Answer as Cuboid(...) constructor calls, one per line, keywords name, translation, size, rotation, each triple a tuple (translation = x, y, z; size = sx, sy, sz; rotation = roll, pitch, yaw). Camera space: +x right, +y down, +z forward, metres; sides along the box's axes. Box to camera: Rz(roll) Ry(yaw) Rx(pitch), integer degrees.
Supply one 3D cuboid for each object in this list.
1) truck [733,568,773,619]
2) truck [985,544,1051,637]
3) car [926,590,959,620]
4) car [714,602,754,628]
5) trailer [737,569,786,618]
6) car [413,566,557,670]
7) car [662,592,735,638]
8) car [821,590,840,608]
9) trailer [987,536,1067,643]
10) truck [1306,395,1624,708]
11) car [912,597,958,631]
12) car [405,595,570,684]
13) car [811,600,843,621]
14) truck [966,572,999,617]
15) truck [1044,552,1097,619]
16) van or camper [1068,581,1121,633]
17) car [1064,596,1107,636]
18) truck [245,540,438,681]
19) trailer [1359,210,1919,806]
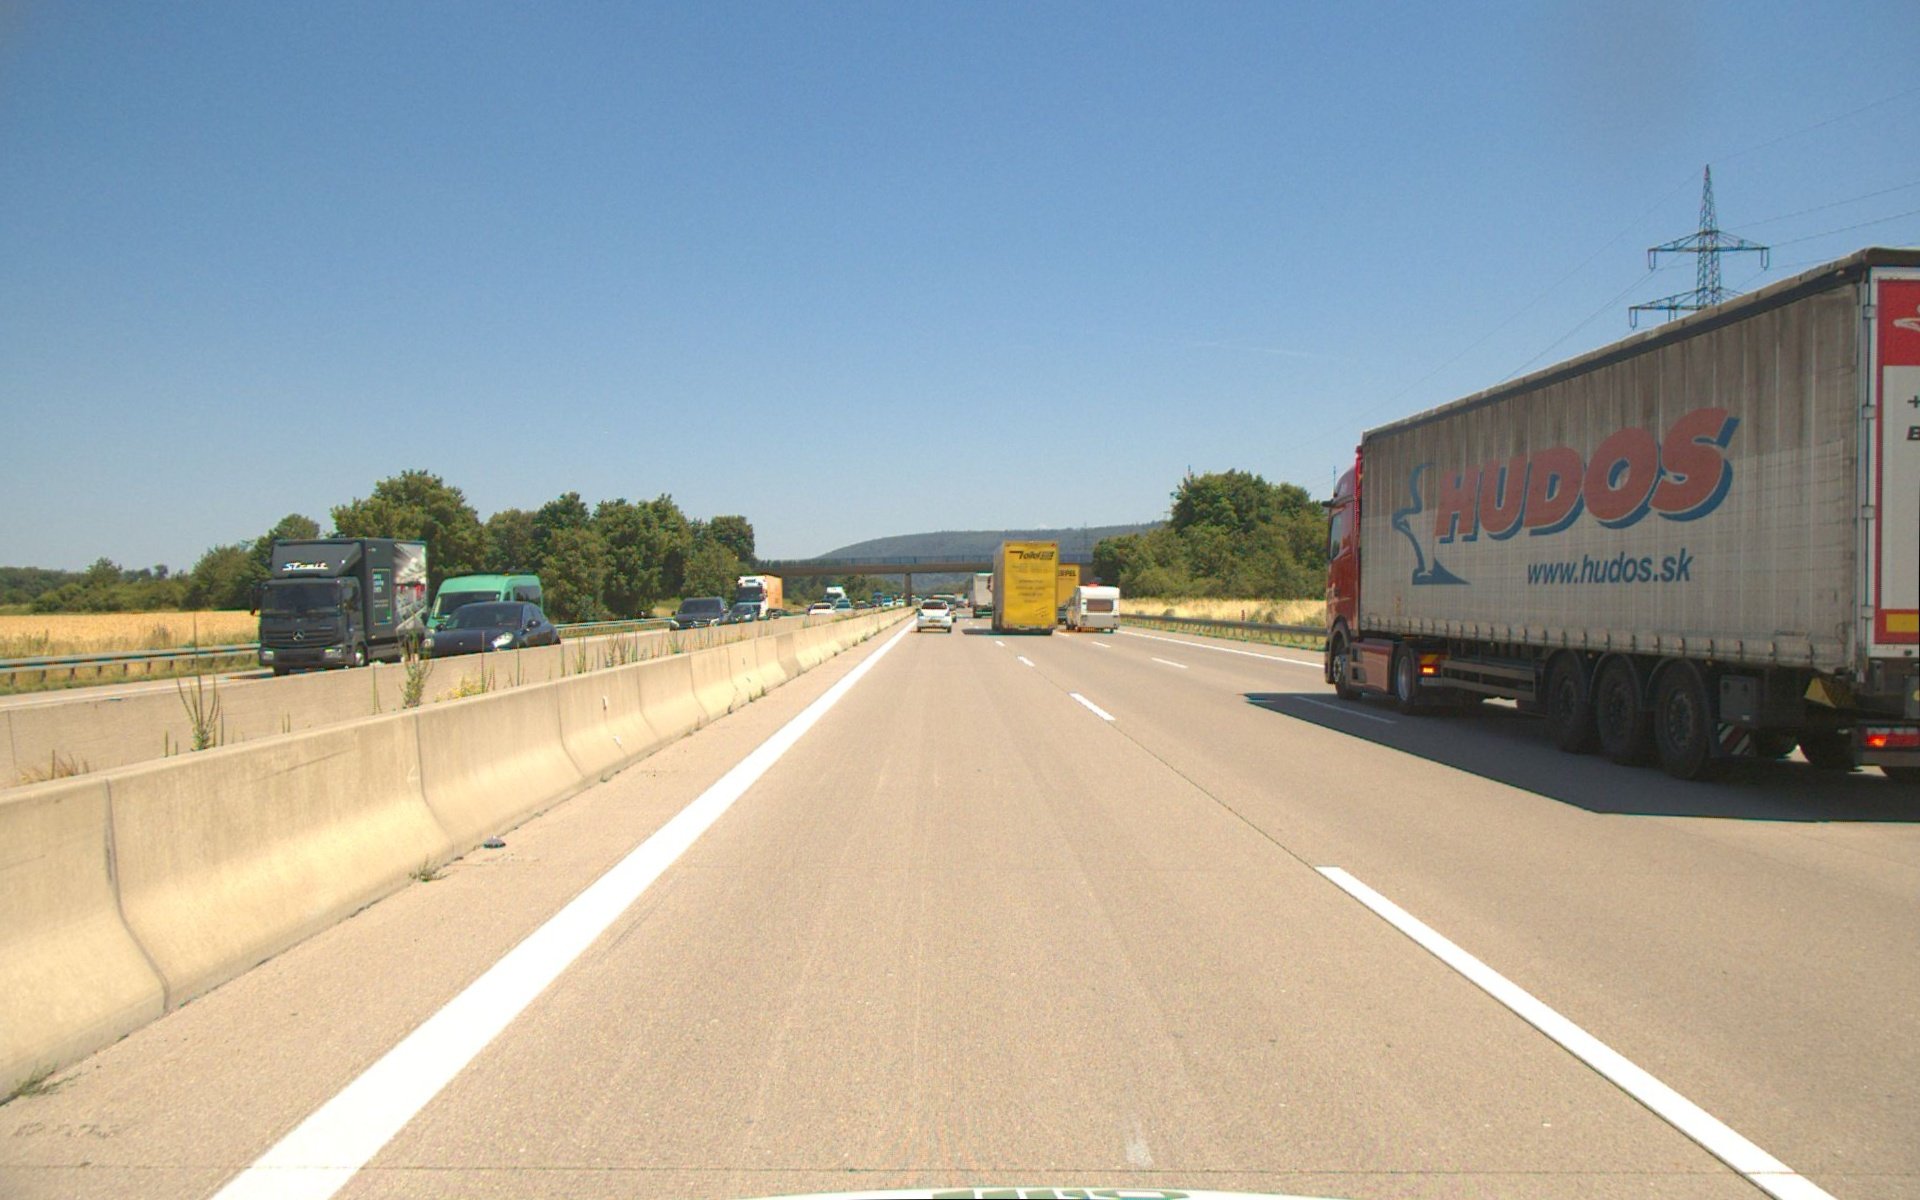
Cuboid(name="truck", translation=(-18.041, -0.554, 144.258), size=(2.810, 4.269, 5.229), rotation=(-2, 0, -1))
Cuboid(name="truck", translation=(2.998, -0.505, 86.713), size=(3.150, 4.643, 5.835), rotation=(1, 0, 0))
Cuboid(name="car", translation=(-1.232, 0.346, 118.399), size=(2.208, 2.049, 4.297), rotation=(1, 0, 0))
Cuboid(name="car", translation=(-14.713, 0.974, 107.927), size=(1.953, 1.587, 4.511), rotation=(-3, 0, -1))
Cuboid(name="trailer", translation=(-18.122, -0.556, 151.703), size=(2.814, 4.271, 14.138), rotation=(-2, 0, -1))
Cuboid(name="car", translation=(-12.825, 0.451, 45.137), size=(2.105, 2.595, 6.462), rotation=(-1, 0, -1))
Cuboid(name="car", translation=(-9.564, 0.523, 60.807), size=(1.953, 1.604, 4.848), rotation=(1, 0, -1))
Cuboid(name="car", translation=(-15.151, -0.158, 193.863), size=(1.891, 2.035, 5.517), rotation=(1, 0, -1))
Cuboid(name="trailer", translation=(3.065, -0.485, 79.789), size=(3.150, 4.643, 13.455), rotation=(1, 0, 0))
Cuboid(name="truck", translation=(7.488, -0.662, 25.516), size=(2.847, 4.172, 6.270), rotation=(1, 0, -1))
Cuboid(name="car", translation=(-1.178, 0.649, 79.552), size=(2.064, 1.563, 4.122), rotation=(1, 0, 1))
Cuboid(name="car", translation=(-9.239, 0.723, 32.755), size=(1.901, 1.585, 4.888), rotation=(1, 0, -1))
Cuboid(name="car", translation=(-9.780, 0.765, 121.986), size=(1.953, 1.388, 4.669), rotation=(-2, 0, -1))
Cuboid(name="truck", translation=(2.000, -0.491, 148.362), size=(2.762, 3.827, 6.283), rotation=(1, 0, -1))
Cuboid(name="truck", translation=(7.619, -0.980, 115.381), size=(2.938, 4.390, 9.683), rotation=(1, 0, 0))
Cuboid(name="van or camper", translation=(6.878, 0.345, 85.342), size=(2.179, 2.575, 5.430), rotation=(1, 0, -1))
Cuboid(name="car", translation=(6.790, 0.848, 90.113), size=(1.953, 2.049, 3.999), rotation=(1, 0, -1))
Cuboid(name="truck", translation=(-17.161, 0.262, 46.492), size=(2.503, 3.574, 7.883), rotation=(-1, 0, -1))
Cuboid(name="trailer", translation=(7.597, -0.640, 18.374), size=(2.815, 4.172, 13.510), rotation=(1, 0, -1))
